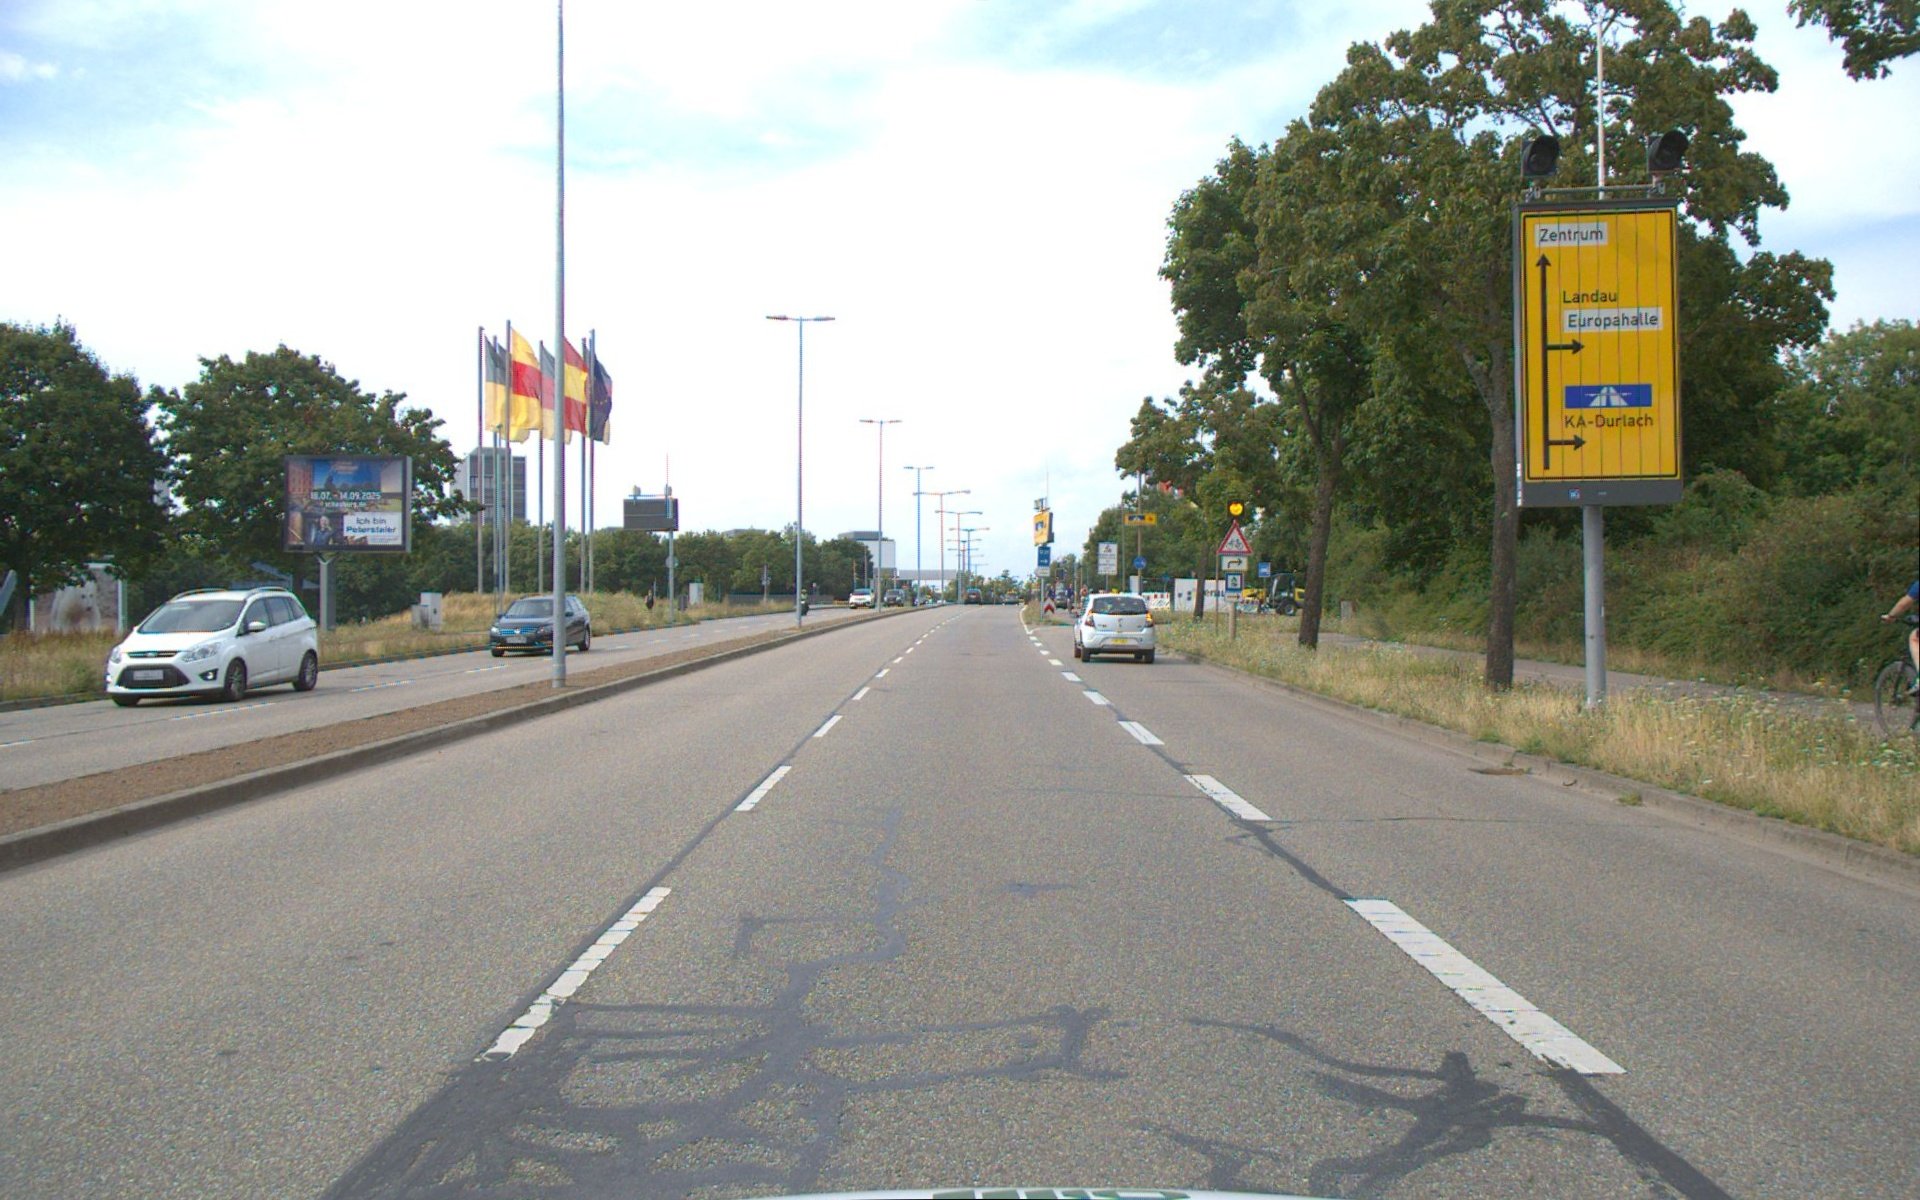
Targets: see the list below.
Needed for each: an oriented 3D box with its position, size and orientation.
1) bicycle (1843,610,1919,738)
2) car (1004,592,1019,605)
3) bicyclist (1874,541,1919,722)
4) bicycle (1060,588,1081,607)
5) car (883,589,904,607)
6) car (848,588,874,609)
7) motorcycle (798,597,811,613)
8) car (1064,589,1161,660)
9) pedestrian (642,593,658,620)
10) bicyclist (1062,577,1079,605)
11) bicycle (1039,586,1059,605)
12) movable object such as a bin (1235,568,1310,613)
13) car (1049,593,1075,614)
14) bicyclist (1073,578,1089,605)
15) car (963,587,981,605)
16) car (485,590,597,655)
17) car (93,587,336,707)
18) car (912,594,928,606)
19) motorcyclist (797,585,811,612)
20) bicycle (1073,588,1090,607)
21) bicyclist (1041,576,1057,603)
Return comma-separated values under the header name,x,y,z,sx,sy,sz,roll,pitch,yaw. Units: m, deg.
name,x,y,z,sx,sy,sz,roll,pitch,yaw
bicycle,9.285,0.706,15.843,0.562,1.168,1.982,-1,1,-1
car,6.270,-0.165,201.421,1.695,1.553,4.115,1,0,1
bicyclist,9.274,0.298,15.747,0.638,1.687,0.876,1,-1,-1
bicycle,6.358,-0.170,95.309,0.585,1.055,2.189,3,0,-12
car,-7.439,-0.264,185.266,1.809,1.926,5.507,-3,0,3
car,-8.271,-0.133,138.902,1.809,1.629,4.562,-1,1,1
motorcycle,-9.727,0.325,103.506,0.512,0.984,2.220,-1,0,1
car,3.495,0.529,38.487,1.809,1.528,3.999,-1,0,-1
pedestrian,-19.614,0.403,104.722,0.847,1.722,0.679,-2,0,0
bicyclist,6.347,-0.518,95.325,0.728,1.545,0.955,1,0,-13
bicycle,5.136,-0.249,95.331,0.609,1.023,2.097,3,0,-12
movable object such as a bin,19.386,-0.592,102.832,4.406,2.736,2.103,1,0,6
car,8.269,0.283,134.562,1.696,1.682,4.112,1,-1,-2
bicyclist,6.783,-0.470,92.644,0.726,1.499,0.805,1,-1,-6
car,1.207,-0.396,166.477,1.694,1.682,4.116,1,-1,3
car,-10.782,0.537,42.855,1.732,1.559,4.740,-1,0,-1
car,-11.533,0.664,25.969,1.732,1.682,4.638,-1,0,-1
car,-5.279,0.008,218.458,1.727,1.466,4.178,-2,0,2
motorcyclist,-9.734,-0.105,103.421,0.754,1.616,0.896,-2,0,0
bicycle,6.793,-0.150,92.570,0.608,1.023,1.785,-2,0,-5
bicyclist,5.129,-0.624,95.415,0.728,1.545,0.956,1,0,-11
